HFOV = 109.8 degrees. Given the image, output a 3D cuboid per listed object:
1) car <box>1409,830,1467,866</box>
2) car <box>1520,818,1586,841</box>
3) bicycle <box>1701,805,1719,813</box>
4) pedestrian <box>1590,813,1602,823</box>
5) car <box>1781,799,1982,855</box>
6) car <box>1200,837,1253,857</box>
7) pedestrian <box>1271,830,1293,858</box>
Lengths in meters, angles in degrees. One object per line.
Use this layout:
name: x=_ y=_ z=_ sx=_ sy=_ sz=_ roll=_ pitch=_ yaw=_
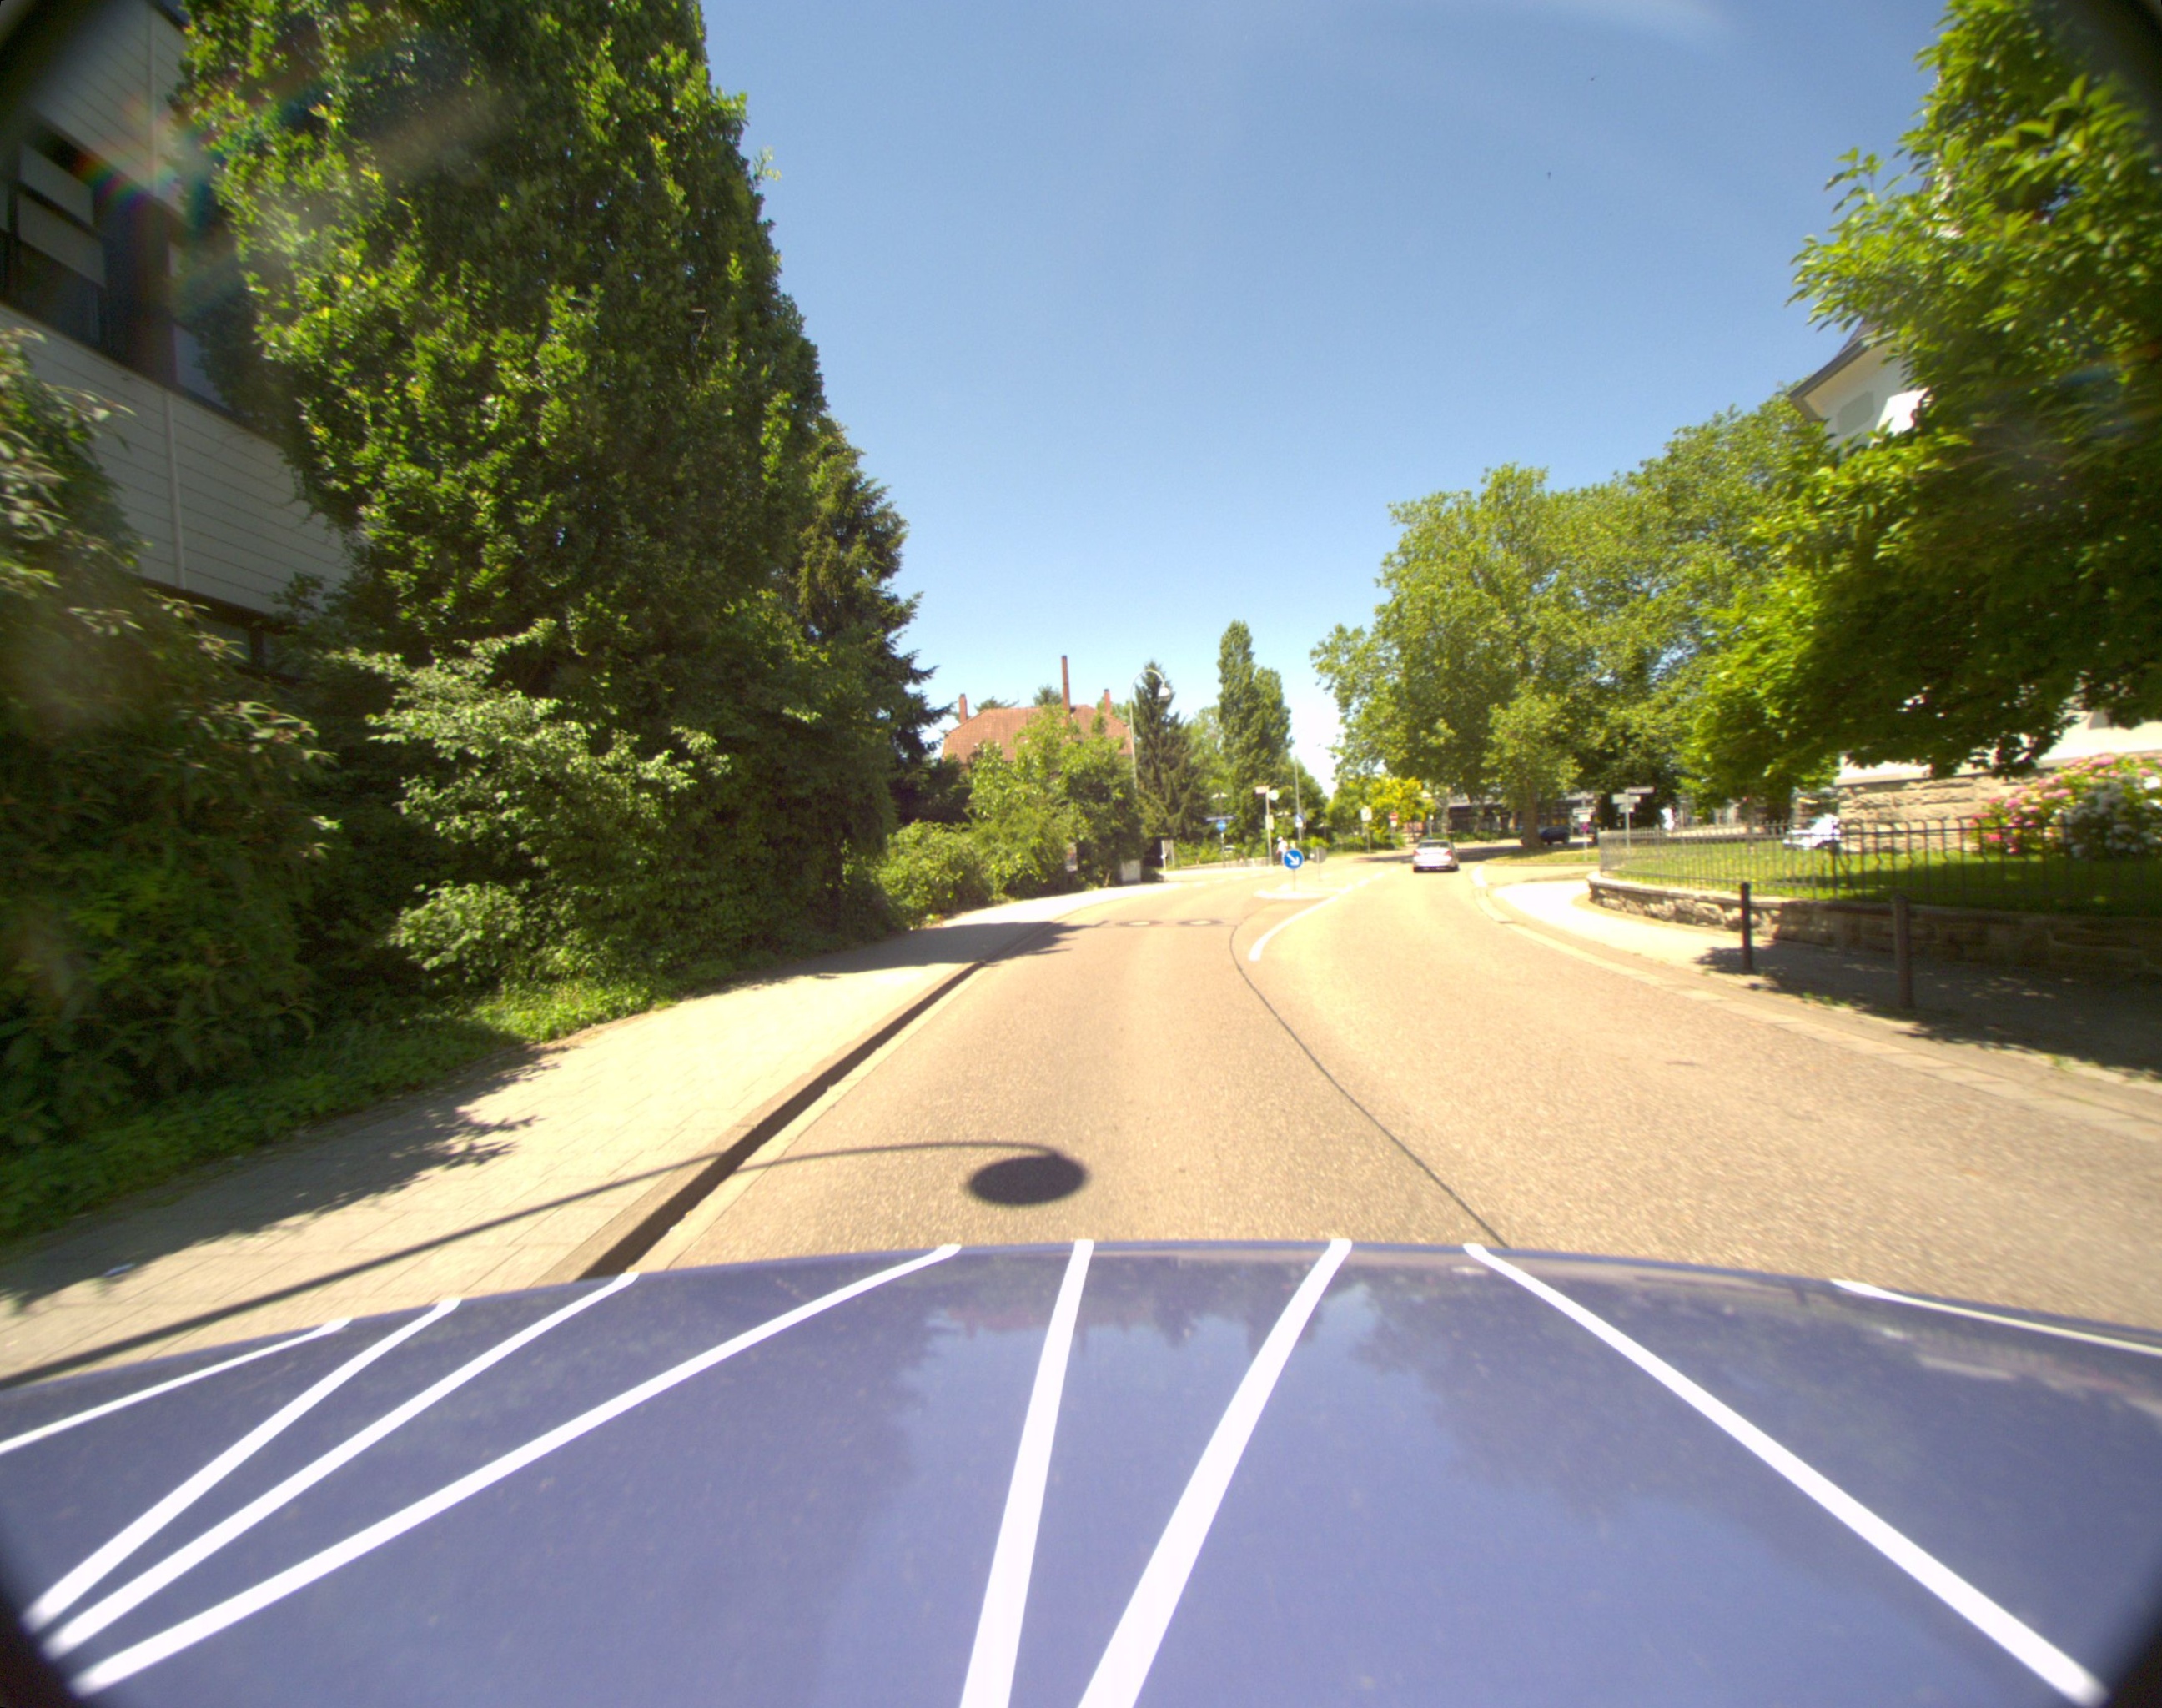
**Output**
car: x=15.846 y=-0.312 z=33.623 sx=1.759 sy=1.427 sz=4.311 roll=-1 pitch=1 yaw=33
car: x=37.435 y=-1.945 z=60.322 sx=4.180 sy=1.536 sz=1.778 roll=-4 pitch=3 yaw=-3
bicycle: x=86.716 y=-6.171 z=104.724 sx=0.670 sy=1.067 sz=2.169 roll=-7 pitch=2 yaw=3
pedestrian: x=65.193 y=-4.568 z=96.202 sx=0.868 sy=1.267 sz=0.830 roll=-4 pitch=1 yaw=-5
car: x=26.768 y=-0.852 z=25.652 sx=4.292 sy=1.614 sz=1.882 roll=-2 pitch=0 yaw=31
car: x=13.422 y=-0.670 z=70.314 sx=4.497 sy=1.491 sz=1.770 roll=-4 pitch=1 yaw=-1
pedestrian: x=12.762 y=-0.643 z=48.198 sx=0.917 sy=1.762 sz=0.912 roll=-5 pitch=3 yaw=-41
